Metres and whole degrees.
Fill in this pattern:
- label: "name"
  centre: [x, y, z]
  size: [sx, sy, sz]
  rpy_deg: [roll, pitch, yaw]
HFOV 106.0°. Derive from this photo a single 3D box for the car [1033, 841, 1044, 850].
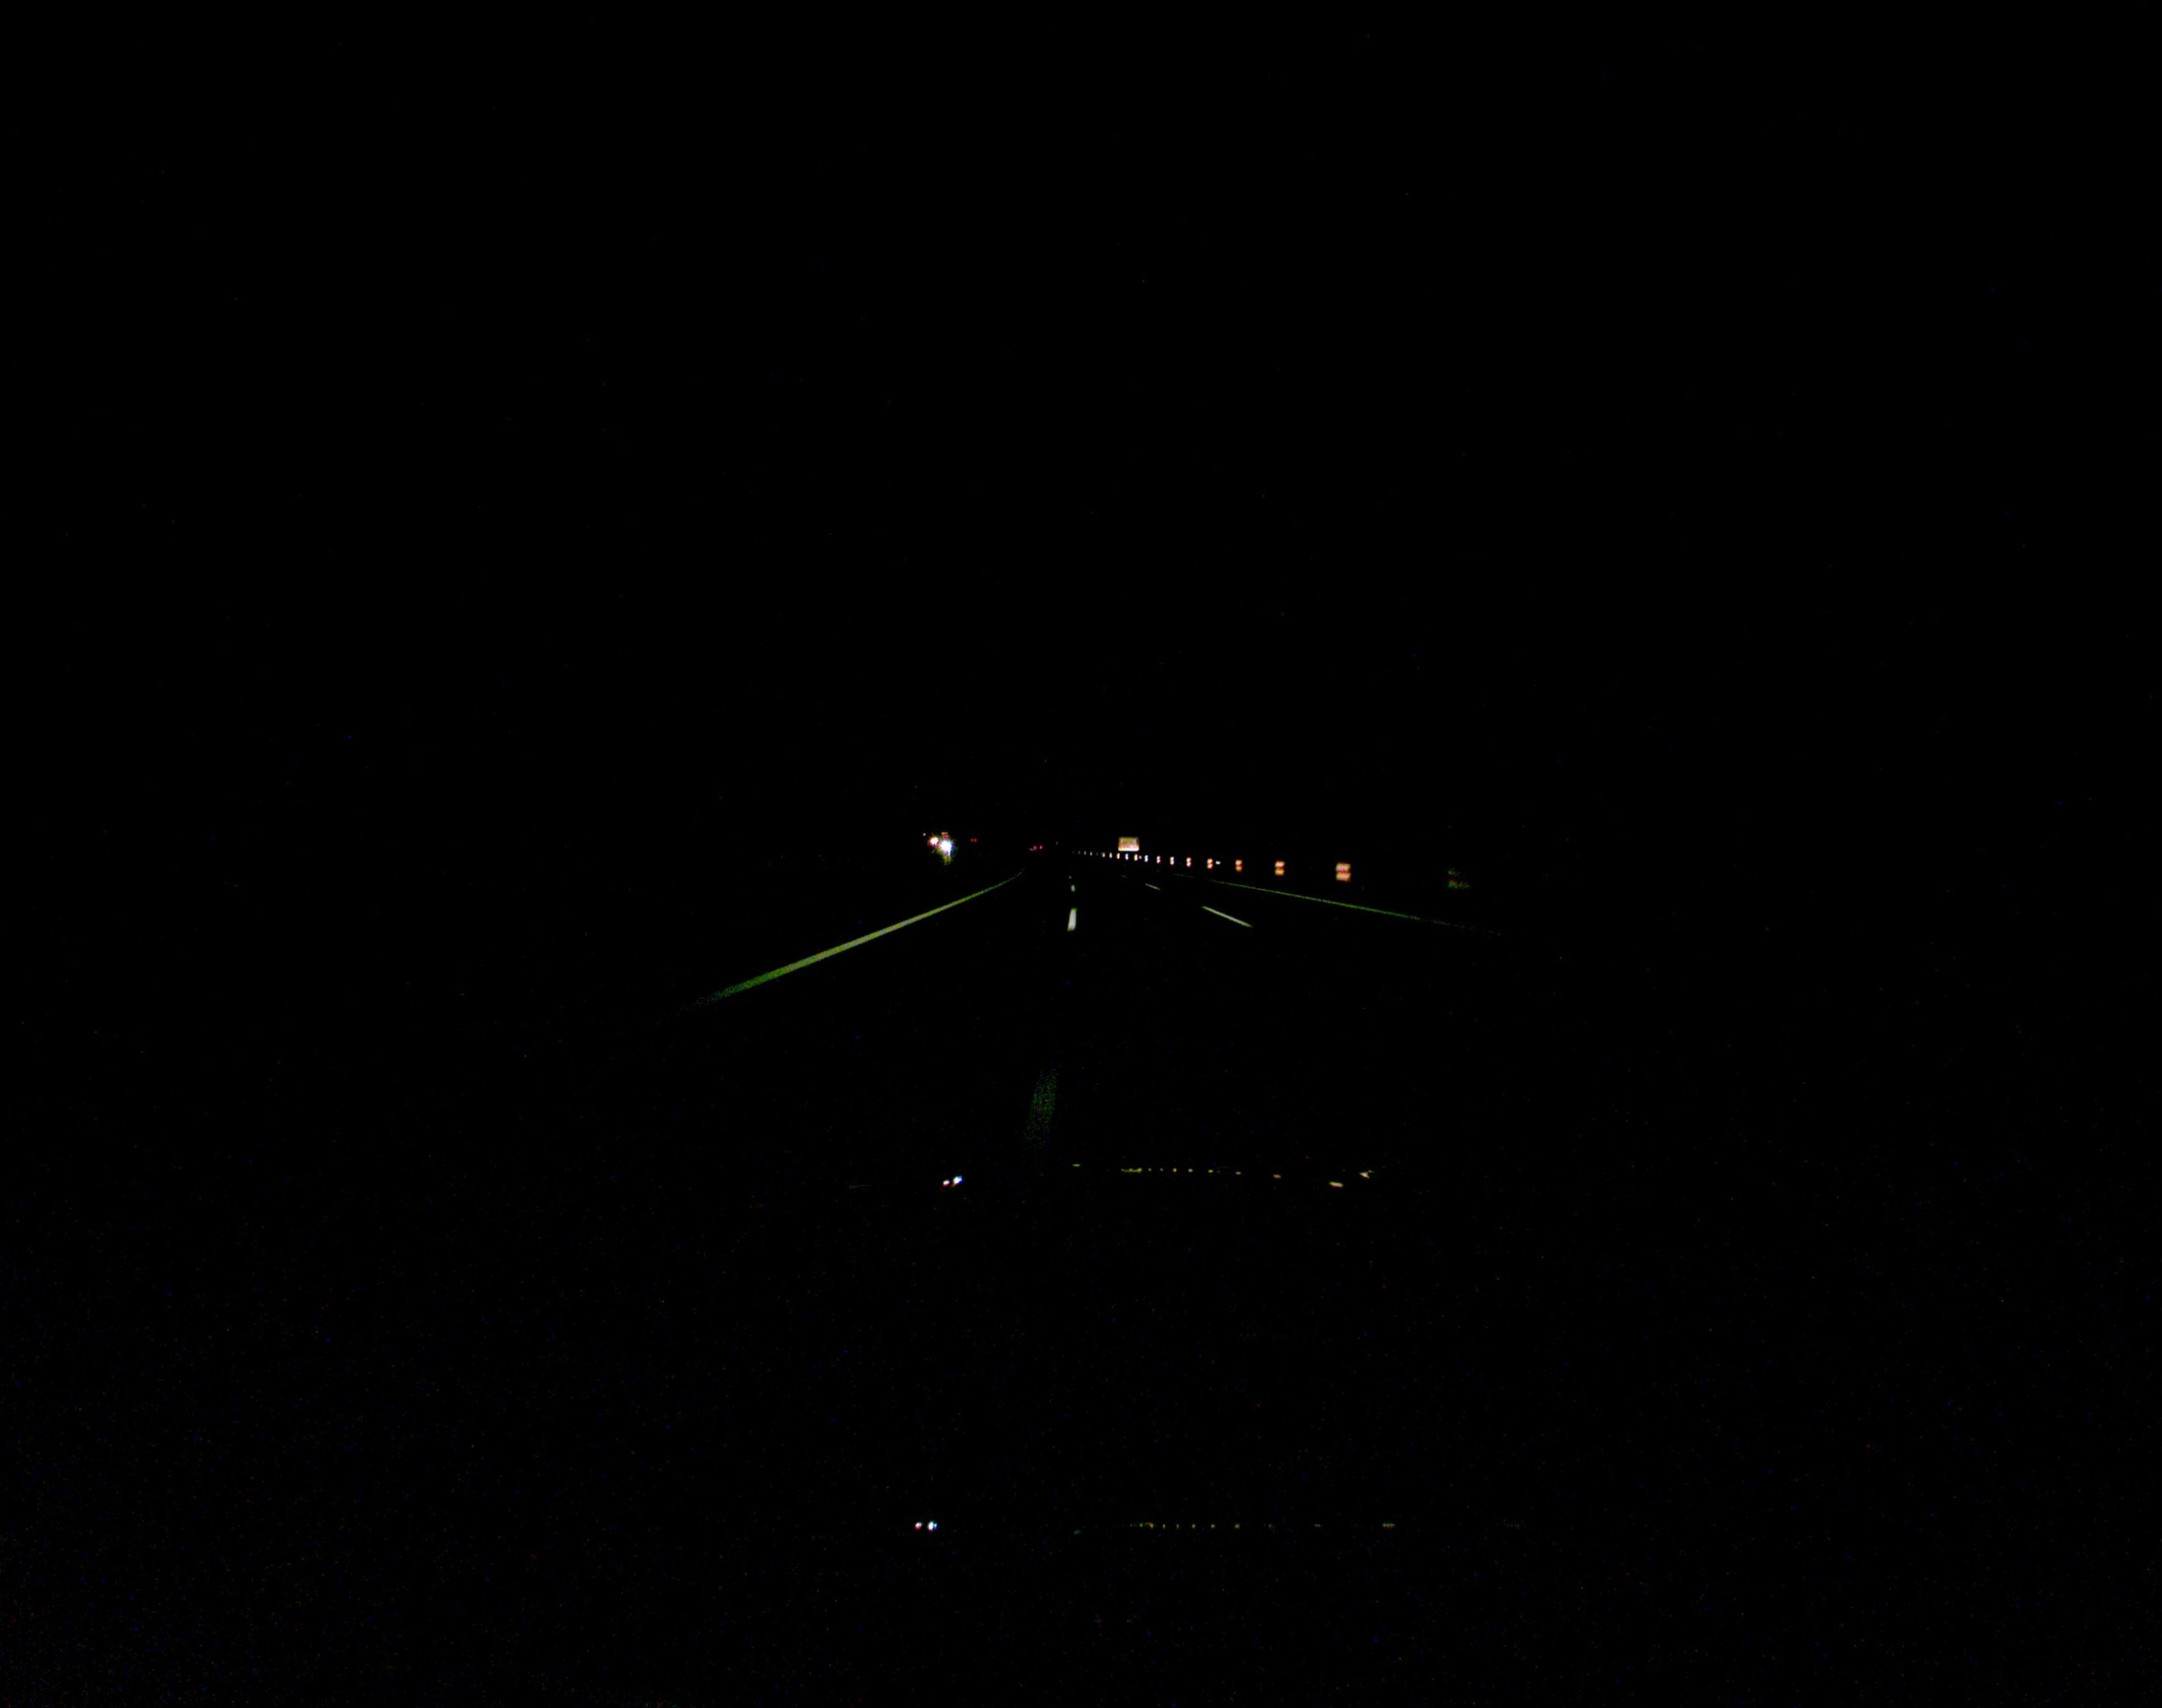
- label: "car"
  centre: [-12.480, -2.428, 239.716]
  size: [2.528, 2.553, 6.031]
  rpy_deg: [1, 1, -10]
